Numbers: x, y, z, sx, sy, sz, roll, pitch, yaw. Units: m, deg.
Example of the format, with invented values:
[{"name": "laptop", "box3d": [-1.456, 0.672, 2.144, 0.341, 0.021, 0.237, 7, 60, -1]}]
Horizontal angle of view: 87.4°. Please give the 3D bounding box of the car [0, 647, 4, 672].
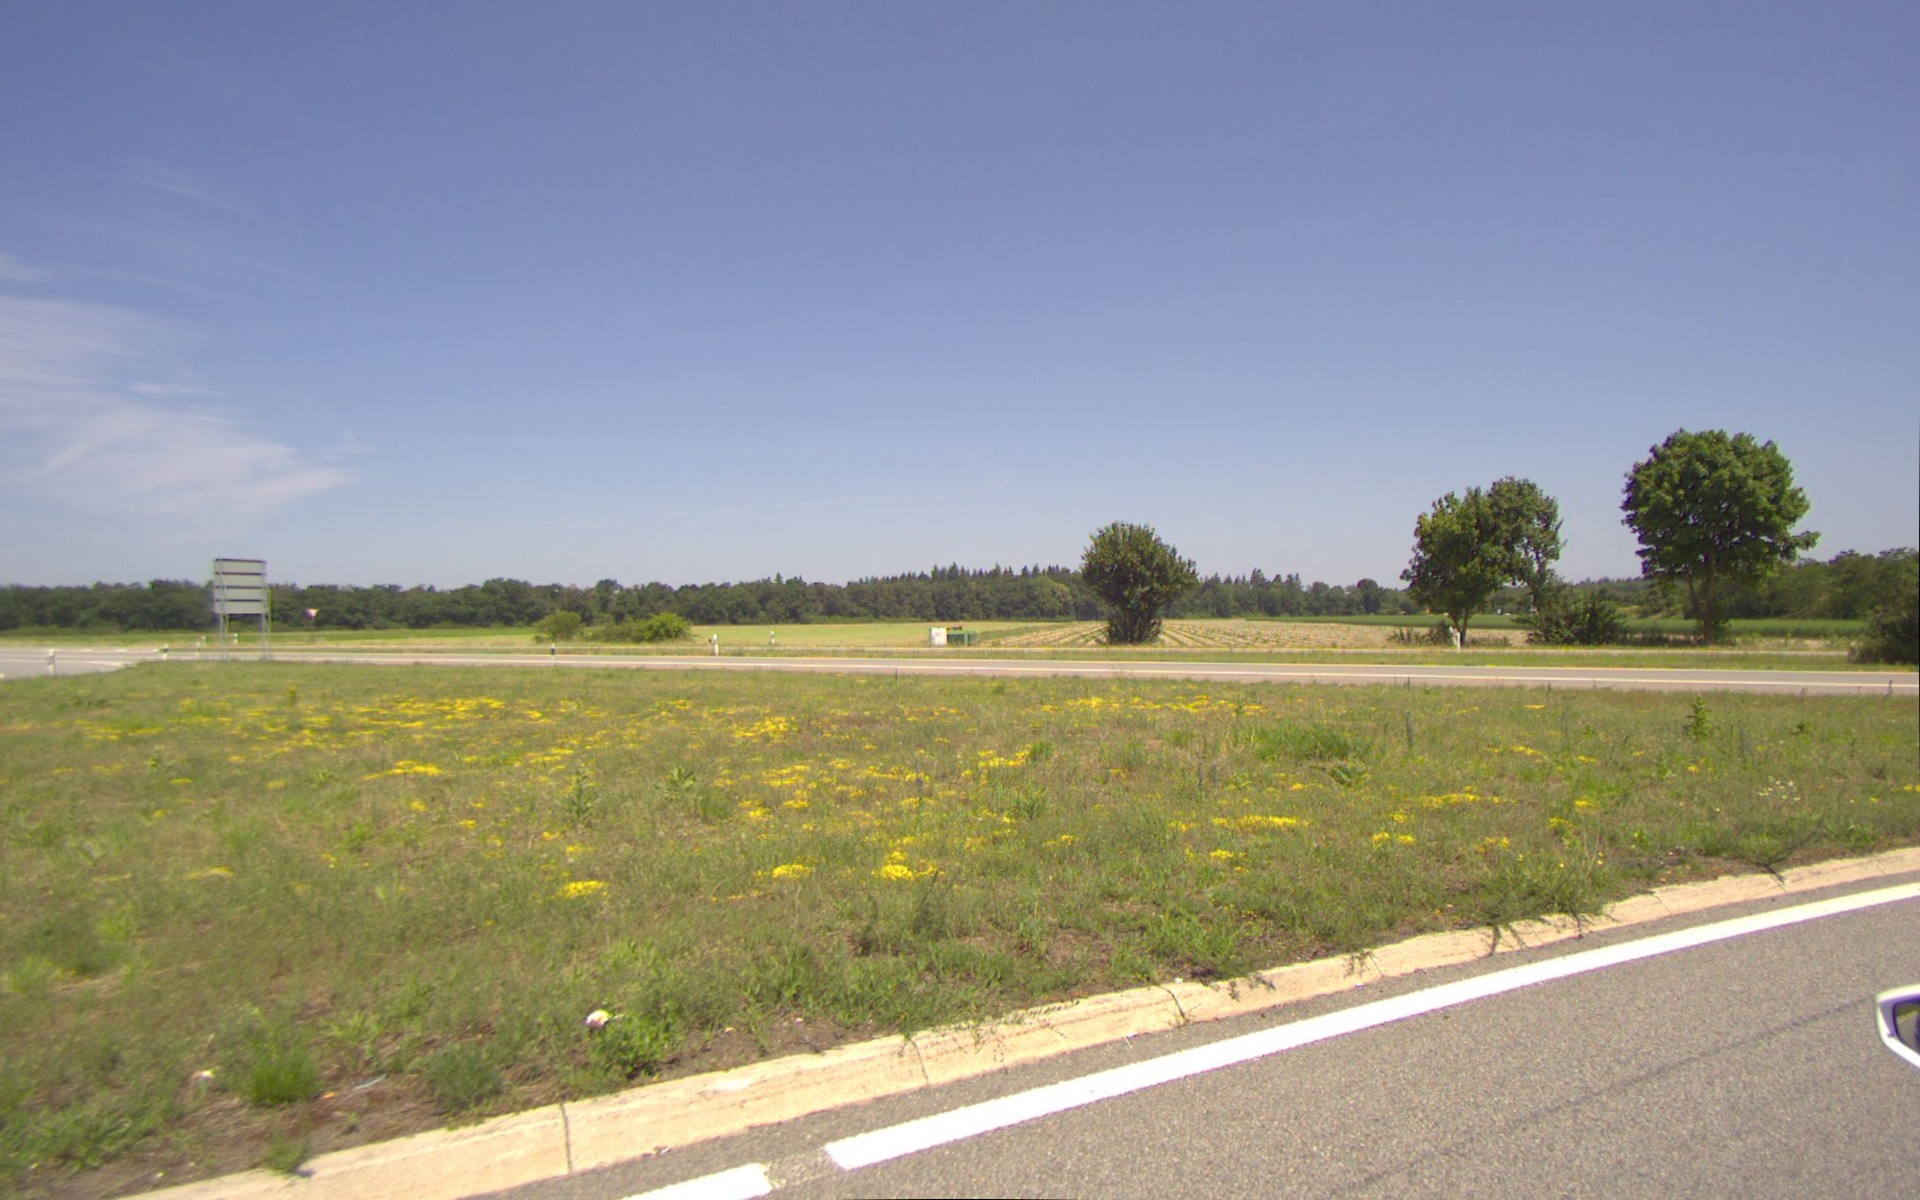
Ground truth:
[{"name": "car", "box3d": [-68.586, 4.160, 70.054, 3.363, 1.728, 1.726, -1, -1, 27]}]
